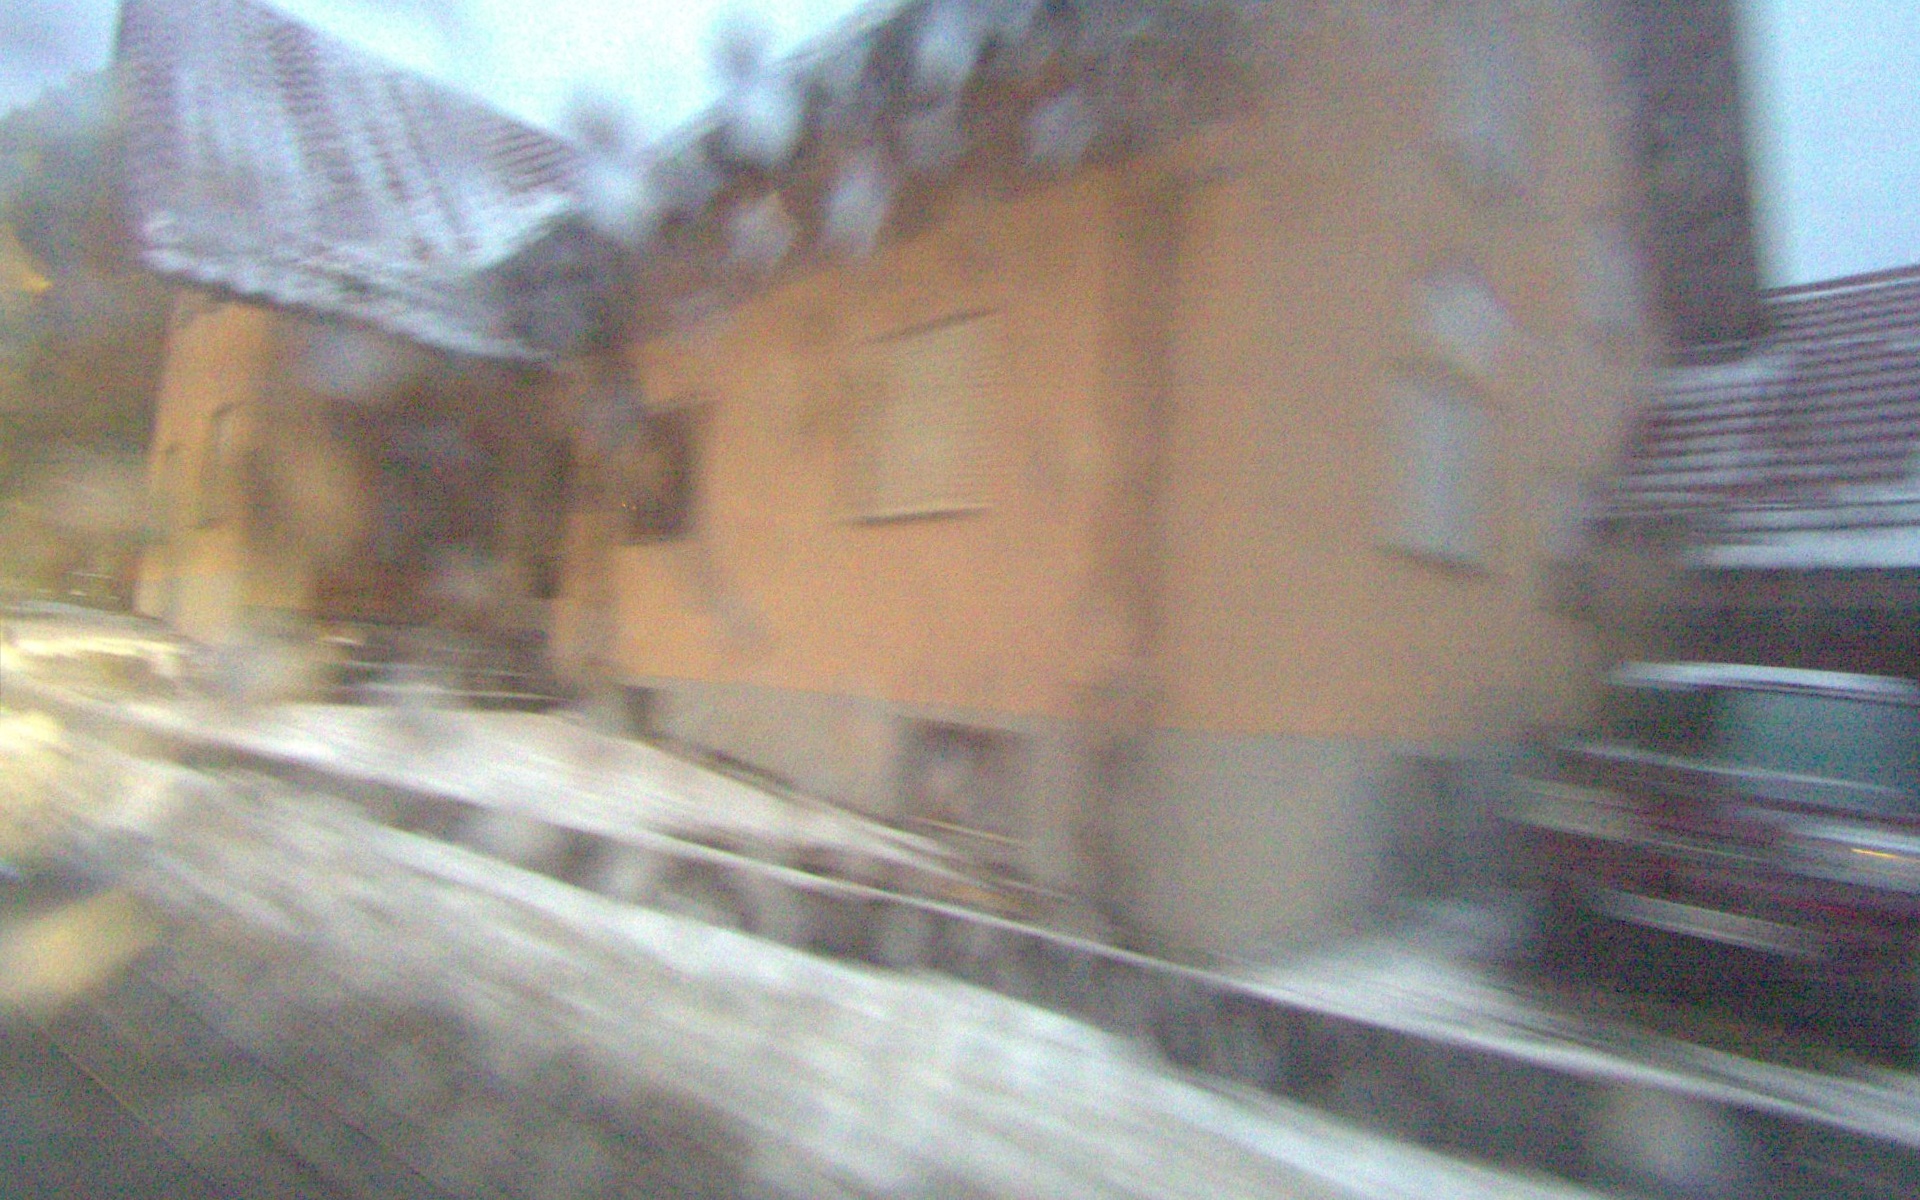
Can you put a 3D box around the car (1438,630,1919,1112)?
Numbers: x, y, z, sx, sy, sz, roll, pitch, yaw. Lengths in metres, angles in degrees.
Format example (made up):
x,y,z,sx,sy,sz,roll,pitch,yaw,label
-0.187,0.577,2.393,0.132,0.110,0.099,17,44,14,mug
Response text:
x,y,z,sx,sy,sz,roll,pitch,yaw,label
4.349,1.135,5.573,1.919,1.578,4.151,6,0,41,car

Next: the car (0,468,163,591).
x,y,z,sx,sy,sz,roll,pitch,yaw,label
-15.032,-1.169,15.424,1.814,1.711,3.989,5,0,32,car
